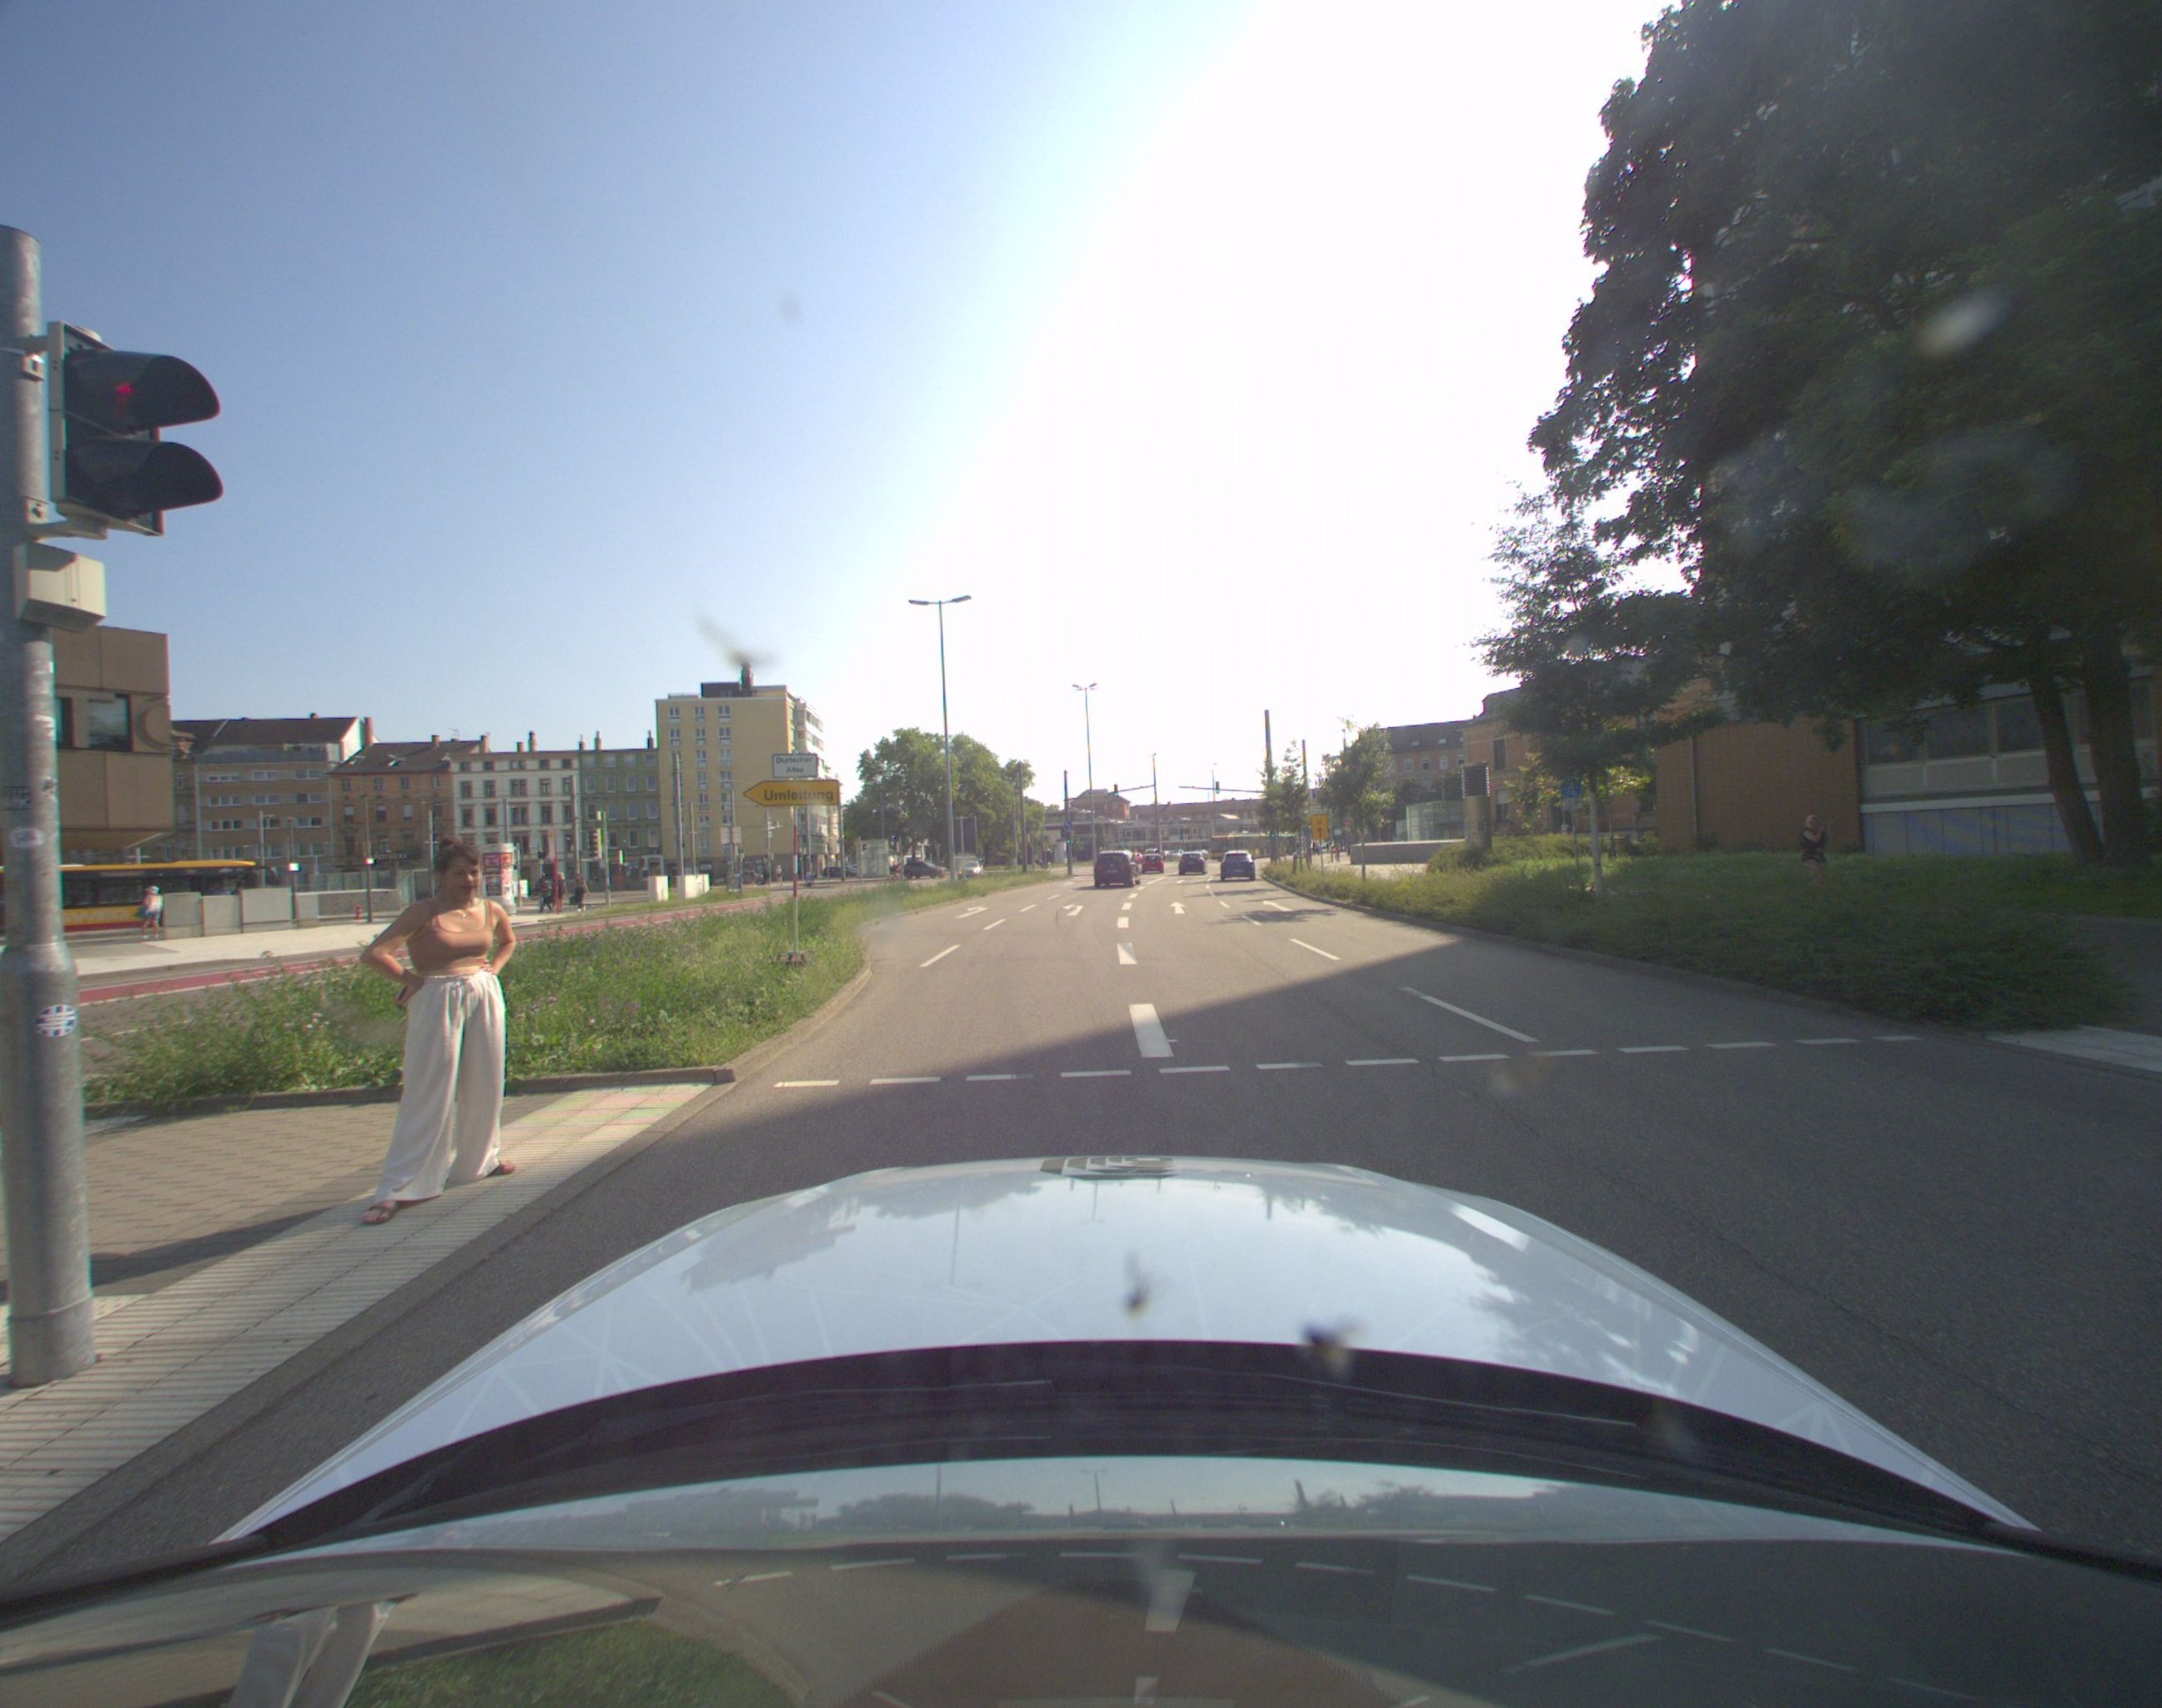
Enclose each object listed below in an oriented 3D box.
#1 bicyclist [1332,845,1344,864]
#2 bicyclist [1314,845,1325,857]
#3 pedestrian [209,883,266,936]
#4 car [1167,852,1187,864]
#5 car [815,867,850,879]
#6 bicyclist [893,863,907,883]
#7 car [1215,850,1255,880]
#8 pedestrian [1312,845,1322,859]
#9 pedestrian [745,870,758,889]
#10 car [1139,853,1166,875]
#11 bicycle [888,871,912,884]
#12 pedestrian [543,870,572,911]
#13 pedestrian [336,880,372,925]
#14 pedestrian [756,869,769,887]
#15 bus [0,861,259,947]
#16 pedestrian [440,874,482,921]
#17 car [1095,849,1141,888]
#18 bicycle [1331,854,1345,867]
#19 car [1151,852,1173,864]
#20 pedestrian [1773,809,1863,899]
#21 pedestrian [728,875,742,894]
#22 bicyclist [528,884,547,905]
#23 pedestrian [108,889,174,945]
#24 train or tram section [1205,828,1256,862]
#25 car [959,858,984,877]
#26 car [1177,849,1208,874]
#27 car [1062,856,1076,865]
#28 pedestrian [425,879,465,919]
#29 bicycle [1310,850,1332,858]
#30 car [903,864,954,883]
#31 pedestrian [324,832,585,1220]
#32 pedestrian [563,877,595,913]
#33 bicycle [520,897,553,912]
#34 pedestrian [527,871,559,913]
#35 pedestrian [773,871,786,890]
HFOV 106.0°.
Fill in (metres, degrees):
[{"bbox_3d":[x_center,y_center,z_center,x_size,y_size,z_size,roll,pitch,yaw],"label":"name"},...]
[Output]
[{"bbox_3d":[21.358,0.012,67.688,0.712,1.513,1.011,-3,-1,29],"label":"bicyclist"},{"bbox_3d":[32.261,-0.412,110.088,0.935,1.680,1.087,-3,0,-14],"label":"bicyclist"},{"bbox_3d":[-28.938,1.878,27.948,0.985,1.705,0.865,-3,-1,-4],"label":"pedestrian"},{"bbox_3d":[13.836,0.525,116.733,1.599,1.475,4.023,-5,-1,24],"label":"car"},{"bbox_3d":[-32.243,2.470,105.769,4.156,1.354,1.476,-2,0,-10],"label":"car"},{"bbox_3d":[-14.998,1.583,67.508,0.879,1.652,0.725,-3,0,-2],"label":"bicyclist"},{"bbox_3d":[8.201,0.573,43.646,1.815,1.428,4.422,-3,0,7],"label":"car"},{"bbox_3d":[31.149,-0.308,107.484,0.931,1.797,0.851,-2,0,-32],"label":"pedestrian"},{"bbox_3d":[-31.056,2.389,76.719,0.921,1.690,0.920,-2,0,-8],"label":"pedestrian"},{"bbox_3d":[5.549,0.715,62.713,1.815,1.535,4.422,-3,0,7],"label":"car"},{"bbox_3d":[-15.011,1.945,67.503,1.808,0.932,0.725,-3,0,-3],"label":"bicycle"},{"bbox_3d":[-24.132,1.681,37.548,0.775,1.800,0.701,-3,-1,1],"label":"pedestrian"},{"bbox_3d":[-30.215,1.988,33.859,0.775,1.800,0.701,-3,-1,1],"label":"pedestrian"},{"bbox_3d":[-29.961,2.269,76.589,0.921,1.690,0.920,-2,0,-8],"label":"pedestrian"},{"bbox_3d":[-42.319,2.078,33.046,2.681,3.108,12.294,-3,0,37],"label":"bus"},{"bbox_3d":[-24.627,1.716,32.372,0.979,1.770,0.870,-3,-1,18],"label":"pedestrian"},{"bbox_3d":[1.844,0.648,39.299,1.815,1.714,4.422,-2,0,7],"label":"car"},{"bbox_3d":[21.344,0.540,67.625,0.712,0.959,1.933,-3,0,29],"label":"bicycle"},{"bbox_3d":[11.072,0.543,110.938,1.599,1.475,4.023,-5,-1,24],"label":"car"},{"bbox_3d":[12.464,0.006,13.802,0.721,1.443,0.859,-3,0,6],"label":"pedestrian"},{"bbox_3d":[-32.139,2.807,75.636,0.921,1.690,0.920,-2,0,-8],"label":"pedestrian"},{"bbox_3d":[-39.898,2.973,59.778,0.792,1.527,0.725,-3,0,-2],"label":"bicyclist"},{"bbox_3d":[-29.773,1.979,25.809,0.985,1.672,0.865,-3,-1,-4],"label":"pedestrian"},{"bbox_3d":[17.986,-1.155,97.335,2.629,3.699,10.655,-3,0,29],"label":"train or tram section"},{"bbox_3d":[-8.913,1.067,66.036,1.813,1.433,4.211,-3,0,-9],"label":"car"},{"bbox_3d":[7.779,0.493,56.638,1.813,1.535,4.426,-3,0,11],"label":"car"},{"bbox_3d":[-2.200,1.183,150.179,1.687,1.522,4.115,-2,0,14],"label":"car"},{"bbox_3d":[-26.228,1.837,33.588,0.978,1.563,0.871,-3,-1,22],"label":"pedestrian"},{"bbox_3d":[32.463,-0.054,110.144,2.623,0.964,1.087,-3,0,-15],"label":"bicycle"},{"bbox_3d":[-14.814,1.890,79.107,4.413,1.617,1.707,-3,0,16],"label":"car"},{"bbox_3d":[-3.046,0.738,3.991,0.660,1.654,0.784,-3,0,34],"label":"pedestrian"},{"bbox_3d":[-22.692,1.831,36.803,0.855,1.559,0.996,-3,-1,43],"label":"pedestrian"},{"bbox_3d":[-39.960,3.693,59.767,1.808,0.932,0.725,-3,0,-3],"label":"bicycle"},{"bbox_3d":[-23.763,1.683,35.975,0.790,1.800,0.783,-3,-1,16],"label":"pedestrian"},{"bbox_3d":[-28.436,2.508,76.711,0.921,1.690,0.920,-2,0,-8],"label":"pedestrian"}]
